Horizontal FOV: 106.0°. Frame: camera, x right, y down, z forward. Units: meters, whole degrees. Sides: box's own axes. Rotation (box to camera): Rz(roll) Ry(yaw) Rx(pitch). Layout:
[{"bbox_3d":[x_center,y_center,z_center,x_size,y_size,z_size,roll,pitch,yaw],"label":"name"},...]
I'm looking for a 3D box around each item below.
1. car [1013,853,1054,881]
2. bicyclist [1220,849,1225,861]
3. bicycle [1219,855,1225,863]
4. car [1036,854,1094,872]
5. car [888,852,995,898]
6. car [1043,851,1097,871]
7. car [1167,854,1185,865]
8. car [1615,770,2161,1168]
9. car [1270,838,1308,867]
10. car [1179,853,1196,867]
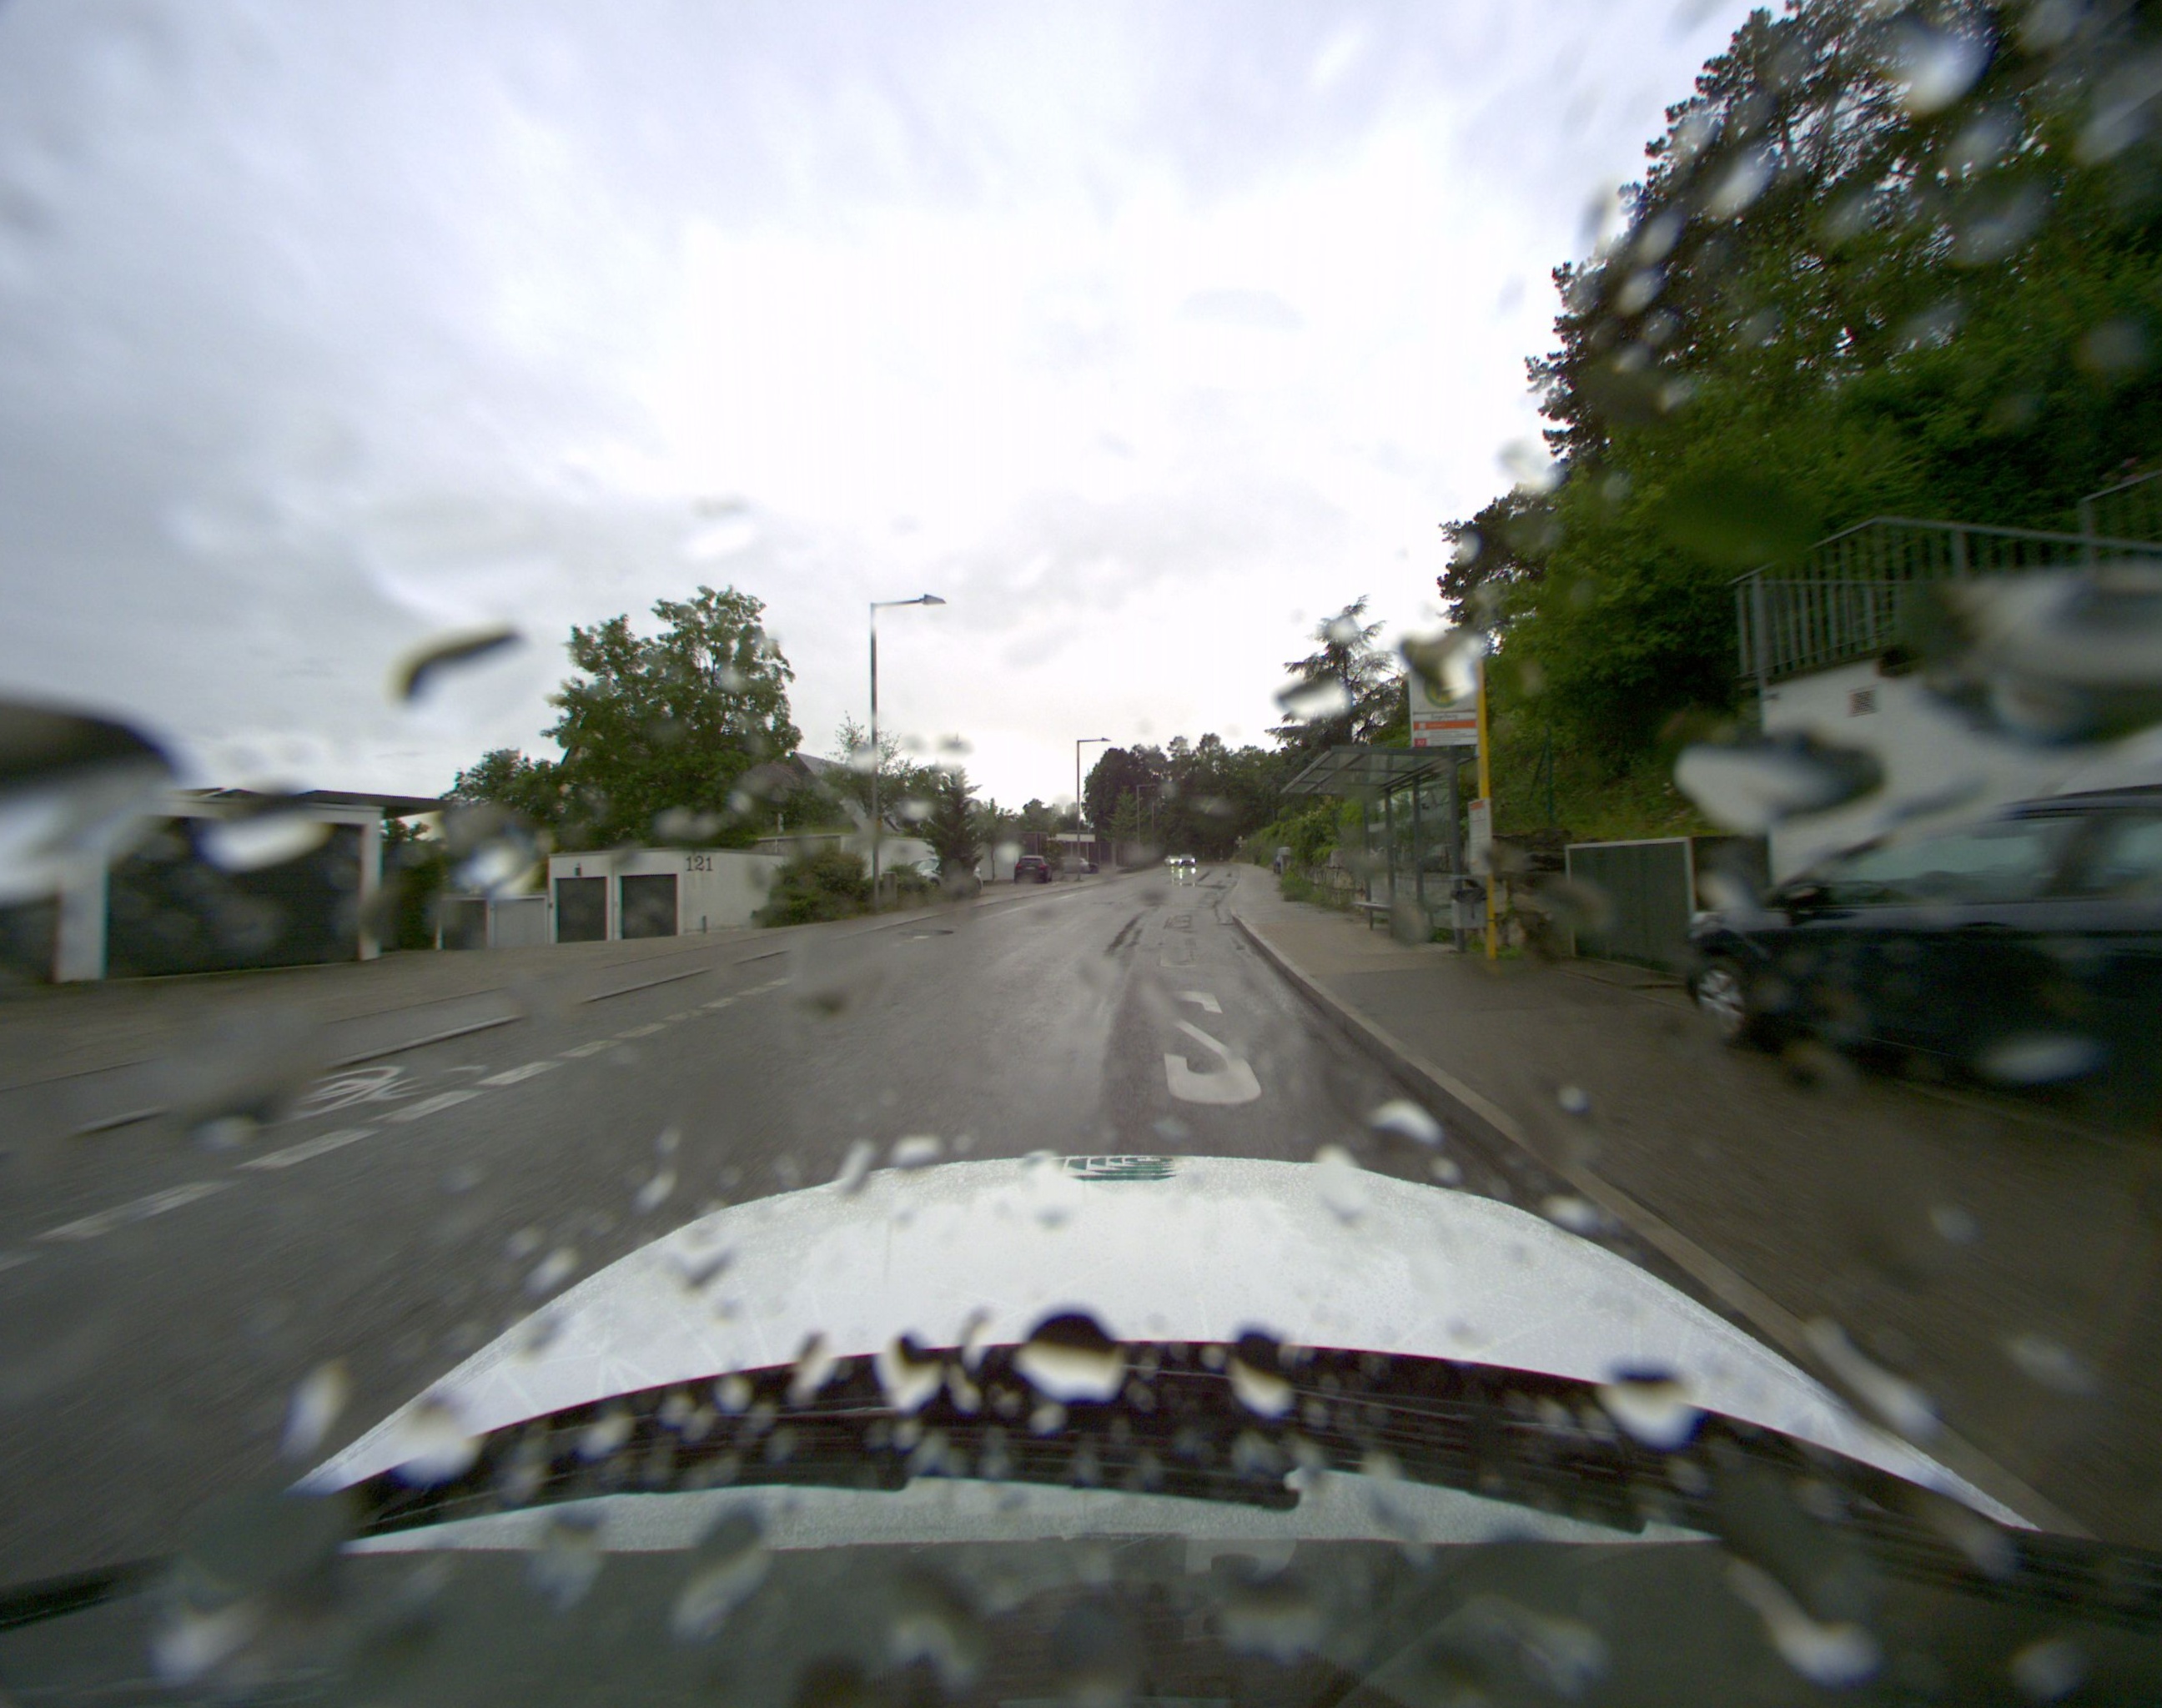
[{"bbox_3d":[-2.572,0.683,44.753,1.826,1.405,4.262,-1,0,2],"label":"car"},{"bbox_3d":[20.071,0.143,115.574,0.717,1.615,0.906,-1,0,5],"label":"bicyclist"},{"bbox_3d":[20.045,0.670,115.720,0.525,1.085,1.621,-1,0,2],"label":"bicycle"},{"bbox_3d":[-1.298,0.735,66.869,4.545,1.442,1.745,0,0,-28],"label":"car"},{"bbox_3d":[-5.142,0.741,30.587,1.689,1.553,4.414,-1,0,25],"label":"car"},{"bbox_3d":[-0.954,0.611,70.041,4.298,1.600,1.823,-1,0,-23],"label":"car"},{"bbox_3d":[12.997,0.713,111.100,1.842,1.460,4.265,-1,0,-1],"label":"car"},{"bbox_3d":[4.774,0.361,3.953,1.699,1.454,4.021,-4,0,1],"label":"car"},{"bbox_3d":[13.554,-0.074,53.303,1.981,1.670,4.556,-4,-1,10],"label":"car"},{"bbox_3d":[12.283,0.673,93.800,1.840,1.469,3.709,-1,0,9],"label":"car"}]
